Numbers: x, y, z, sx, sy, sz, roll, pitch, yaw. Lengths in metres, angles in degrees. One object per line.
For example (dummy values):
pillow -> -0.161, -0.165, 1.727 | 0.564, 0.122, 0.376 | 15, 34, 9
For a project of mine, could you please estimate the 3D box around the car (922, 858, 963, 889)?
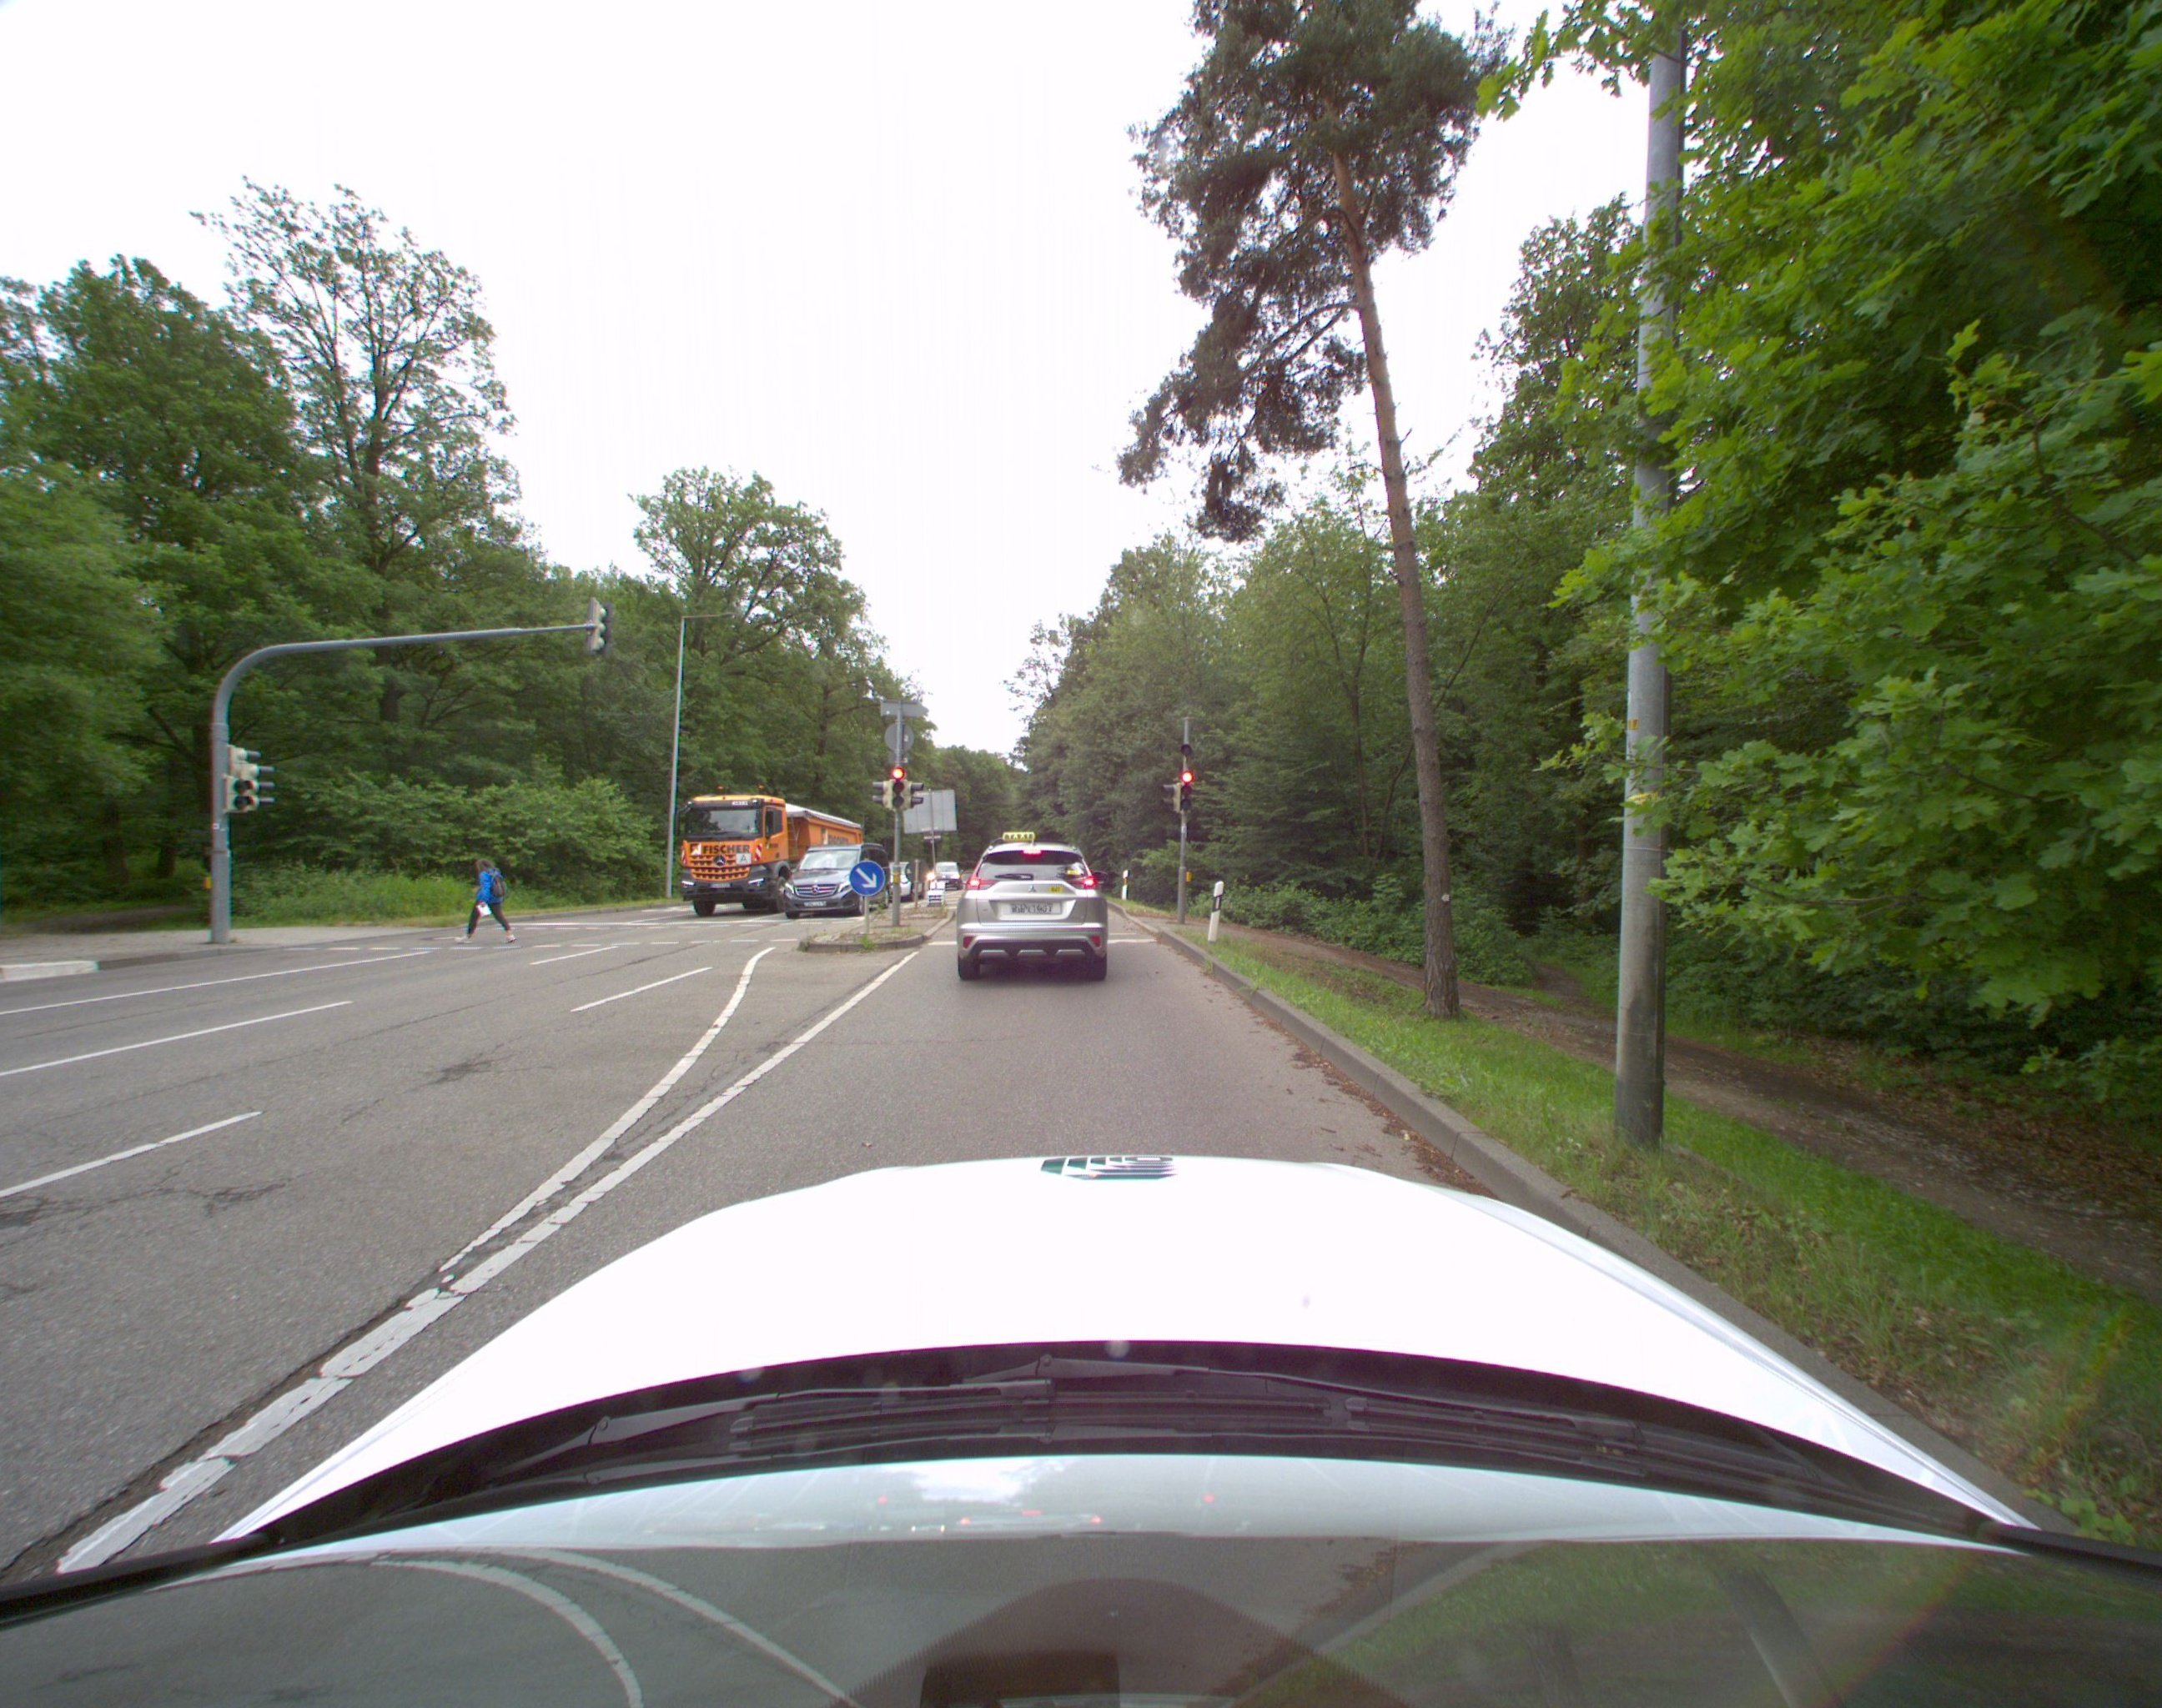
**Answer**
car -> -7.342, 1.032, 43.523 | 1.809, 1.508, 3.713 | -3, 0, -6

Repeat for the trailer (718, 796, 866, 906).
trailer -> -10.035, -0.032, 29.371 | 2.733, 3.318, 8.556 | -1, -1, -4

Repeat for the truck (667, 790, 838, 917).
truck -> -9.760, 0.036, 25.169 | 2.733, 3.318, 7.149 | -1, -1, -4

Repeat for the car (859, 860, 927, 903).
car -> -6.740, 0.956, 29.565 | 1.607, 1.321, 3.720 | -3, 1, -1

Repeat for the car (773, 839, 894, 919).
car -> -6.628, 0.642, 22.438 | 1.989, 1.893, 4.834 | -2, -1, -3

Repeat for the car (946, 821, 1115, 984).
car -> -0.654, 0.523, 10.959 | 1.842, 1.780, 3.995 | 1, 0, -3

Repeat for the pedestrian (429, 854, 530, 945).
pedestrian -> -11.323, 0.832, 15.372 | 1.042, 1.649, 1.070 | -1, 0, 4
